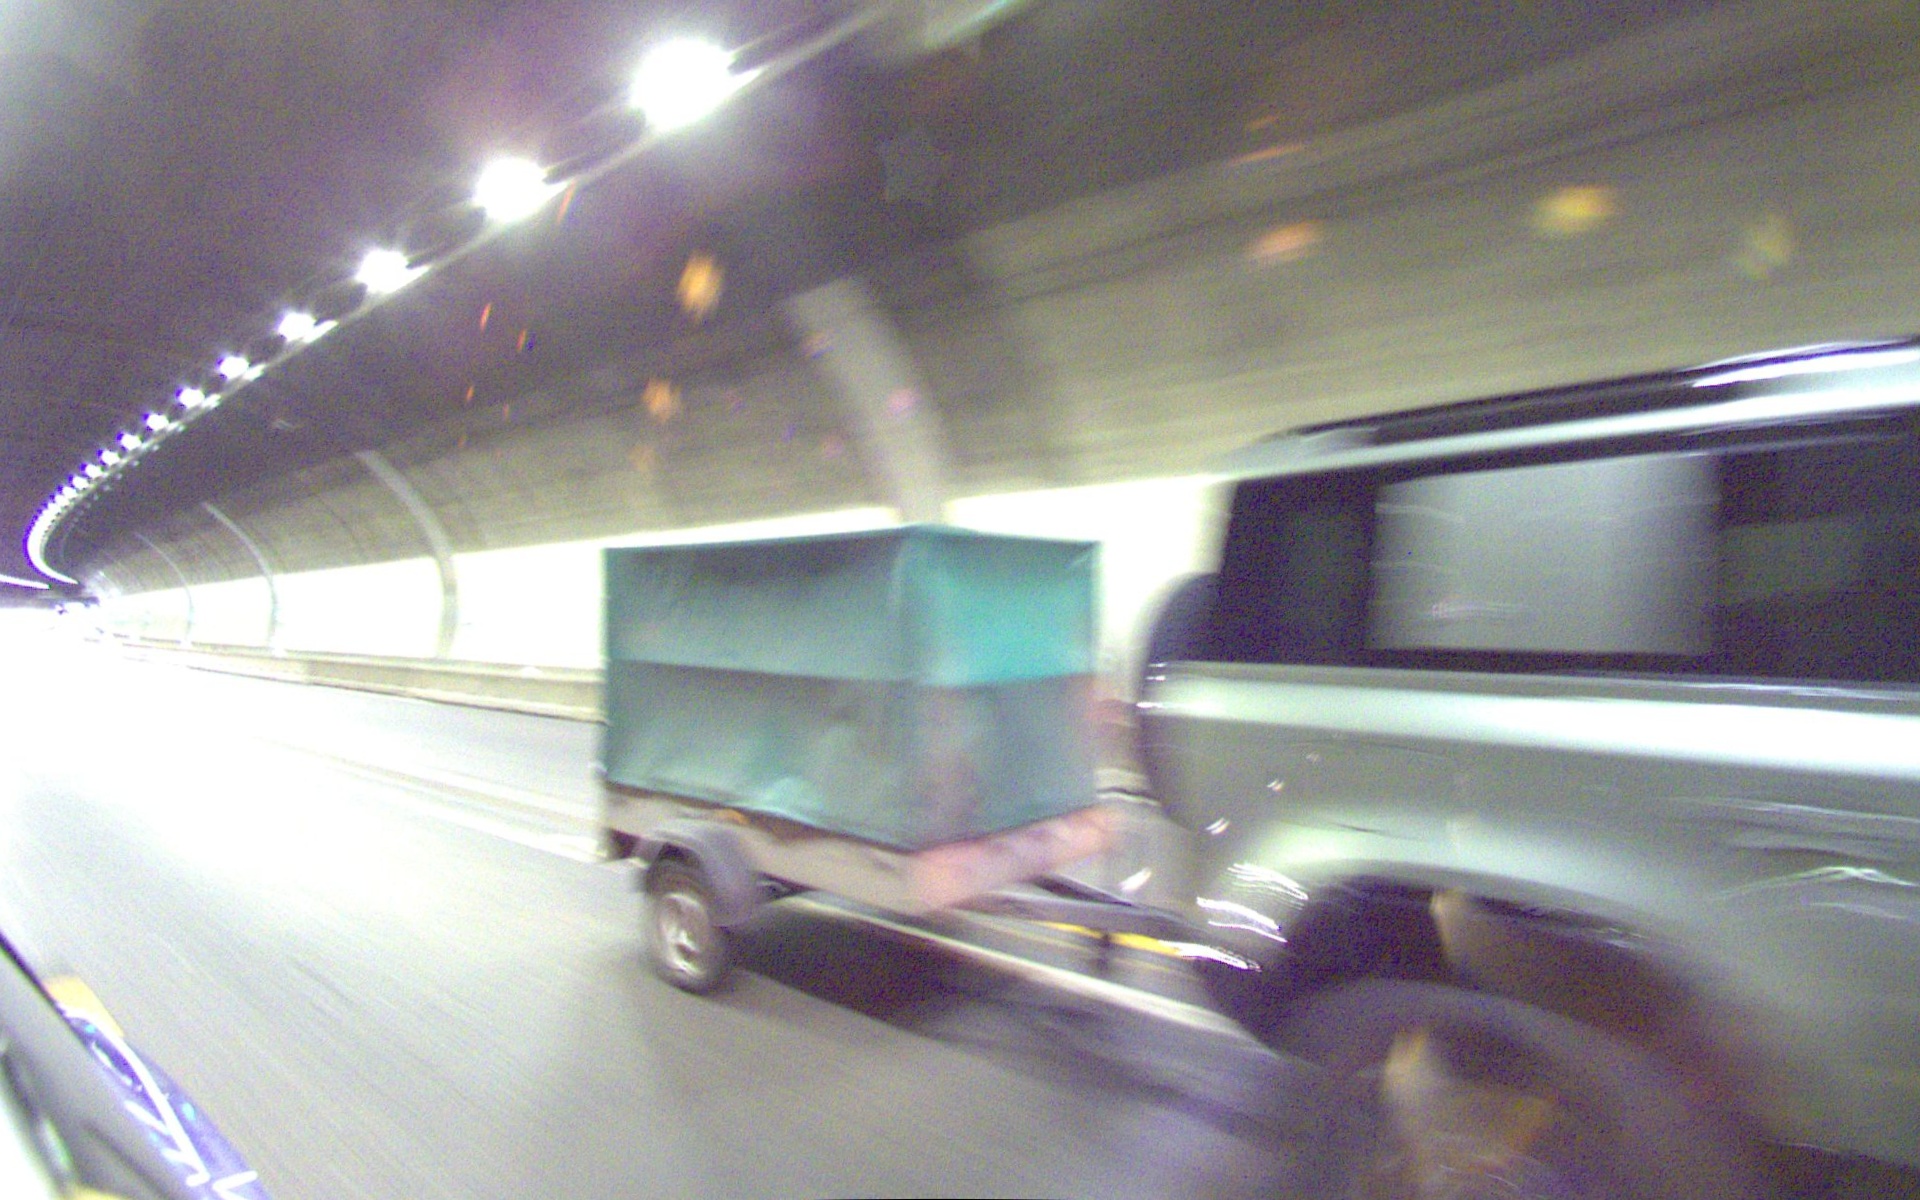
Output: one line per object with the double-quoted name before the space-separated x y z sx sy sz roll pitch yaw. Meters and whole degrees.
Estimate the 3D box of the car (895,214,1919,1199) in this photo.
"car" 2.536 0.411 1.554 5.451 1.909 1.973 -1 1 41
